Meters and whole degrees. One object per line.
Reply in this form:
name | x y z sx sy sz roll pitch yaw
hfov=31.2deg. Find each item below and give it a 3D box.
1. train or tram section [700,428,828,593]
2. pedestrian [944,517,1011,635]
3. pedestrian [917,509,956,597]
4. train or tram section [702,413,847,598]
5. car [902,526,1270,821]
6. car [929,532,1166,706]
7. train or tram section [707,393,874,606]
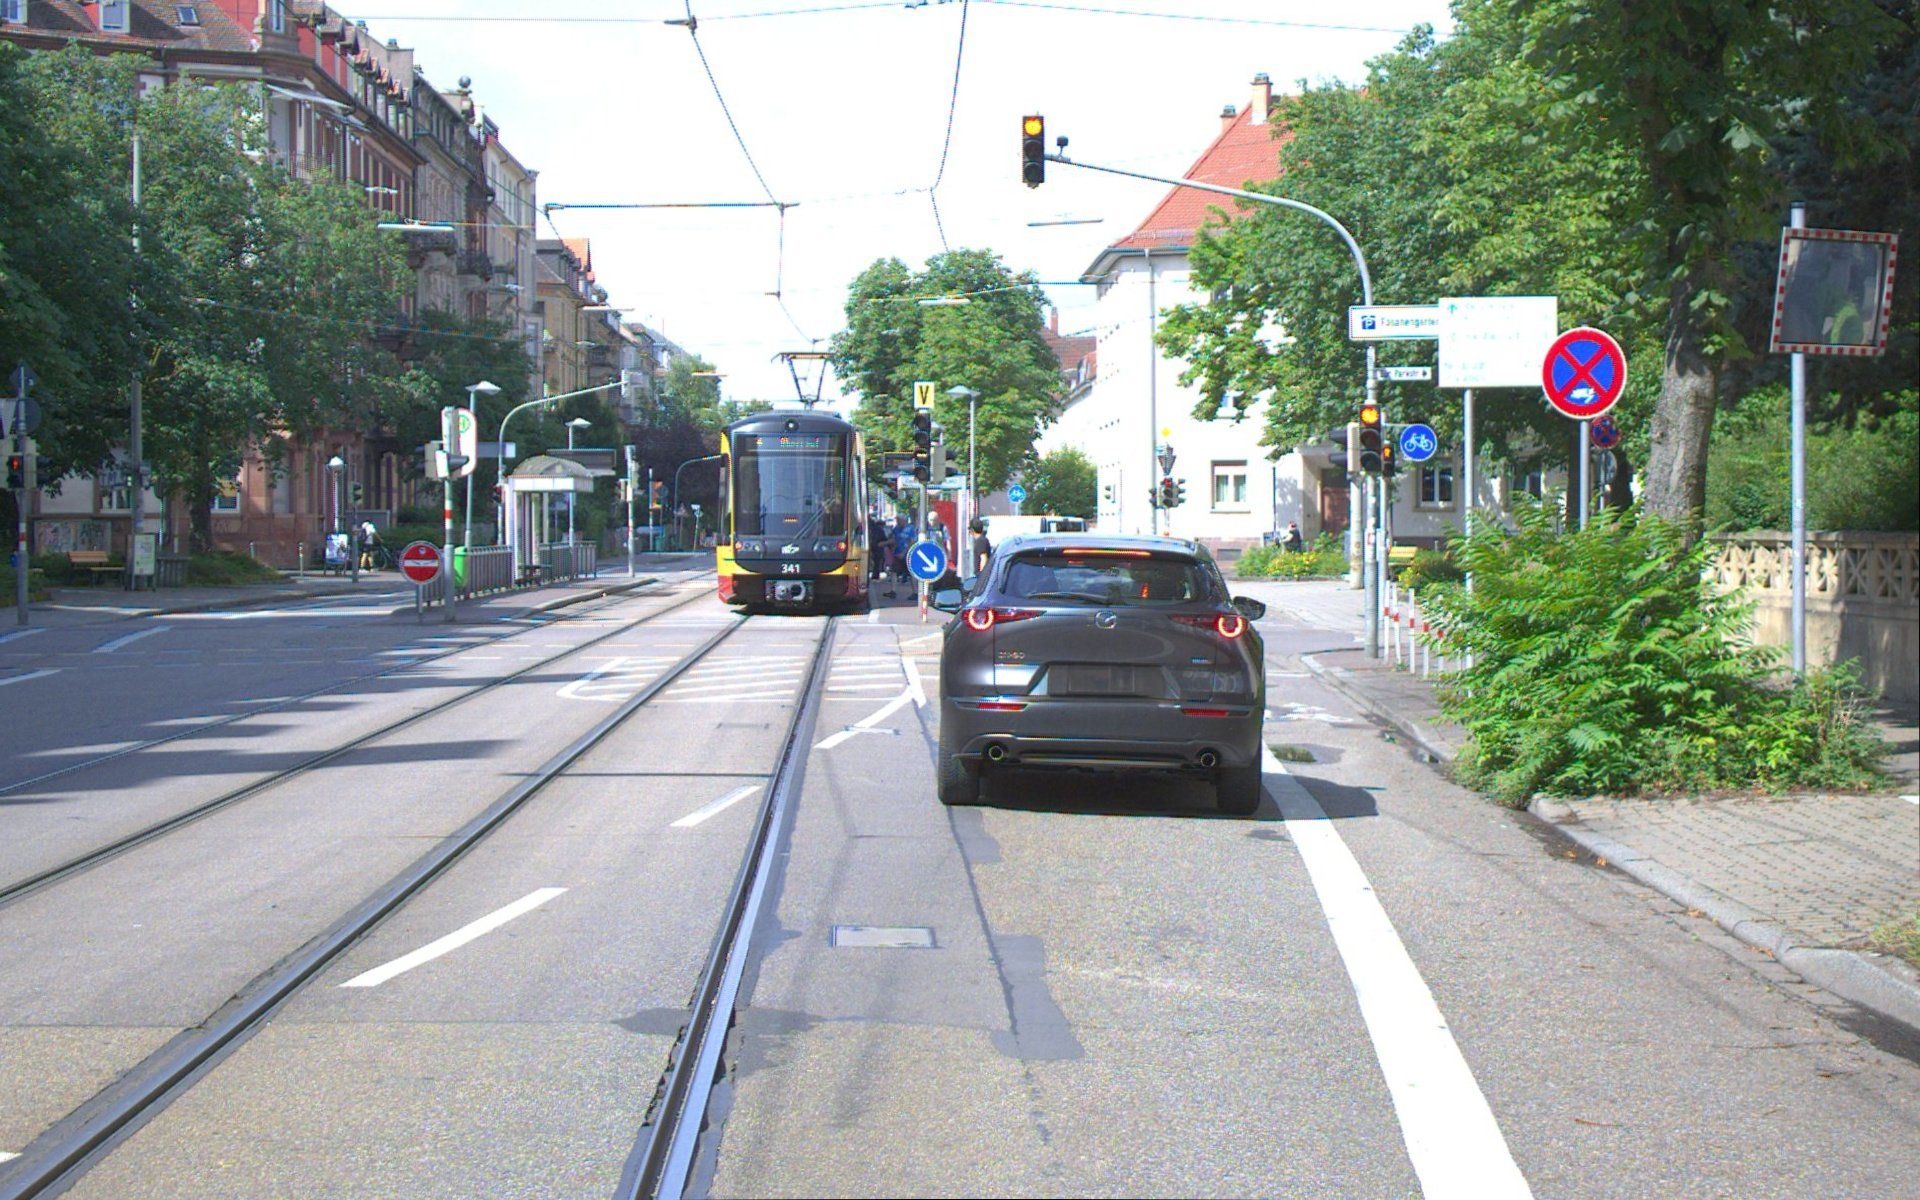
train or tram section | -4.558 -2.007 78.522 2.651 3.515 8.498 -1 1 -5
pedestrian | 0.235 -0.331 46.834 0.874 1.599 0.632 0 1 -3
pedestrian | -0.432 -0.859 62.794 0.667 1.599 0.700 0 1 -3
train or tram section | -3.858 -1.875 70.040 2.651 3.515 8.498 -1 1 -5
car | 0.629 0.344 20.328 1.789 1.507 4.351 1 1 -3
car | 0.755 0.121 32.864 1.784 1.487 4.884 0 2 -4
train or tram section | -3.139 -1.745 61.557 2.651 3.515 8.498 -1 1 -5
